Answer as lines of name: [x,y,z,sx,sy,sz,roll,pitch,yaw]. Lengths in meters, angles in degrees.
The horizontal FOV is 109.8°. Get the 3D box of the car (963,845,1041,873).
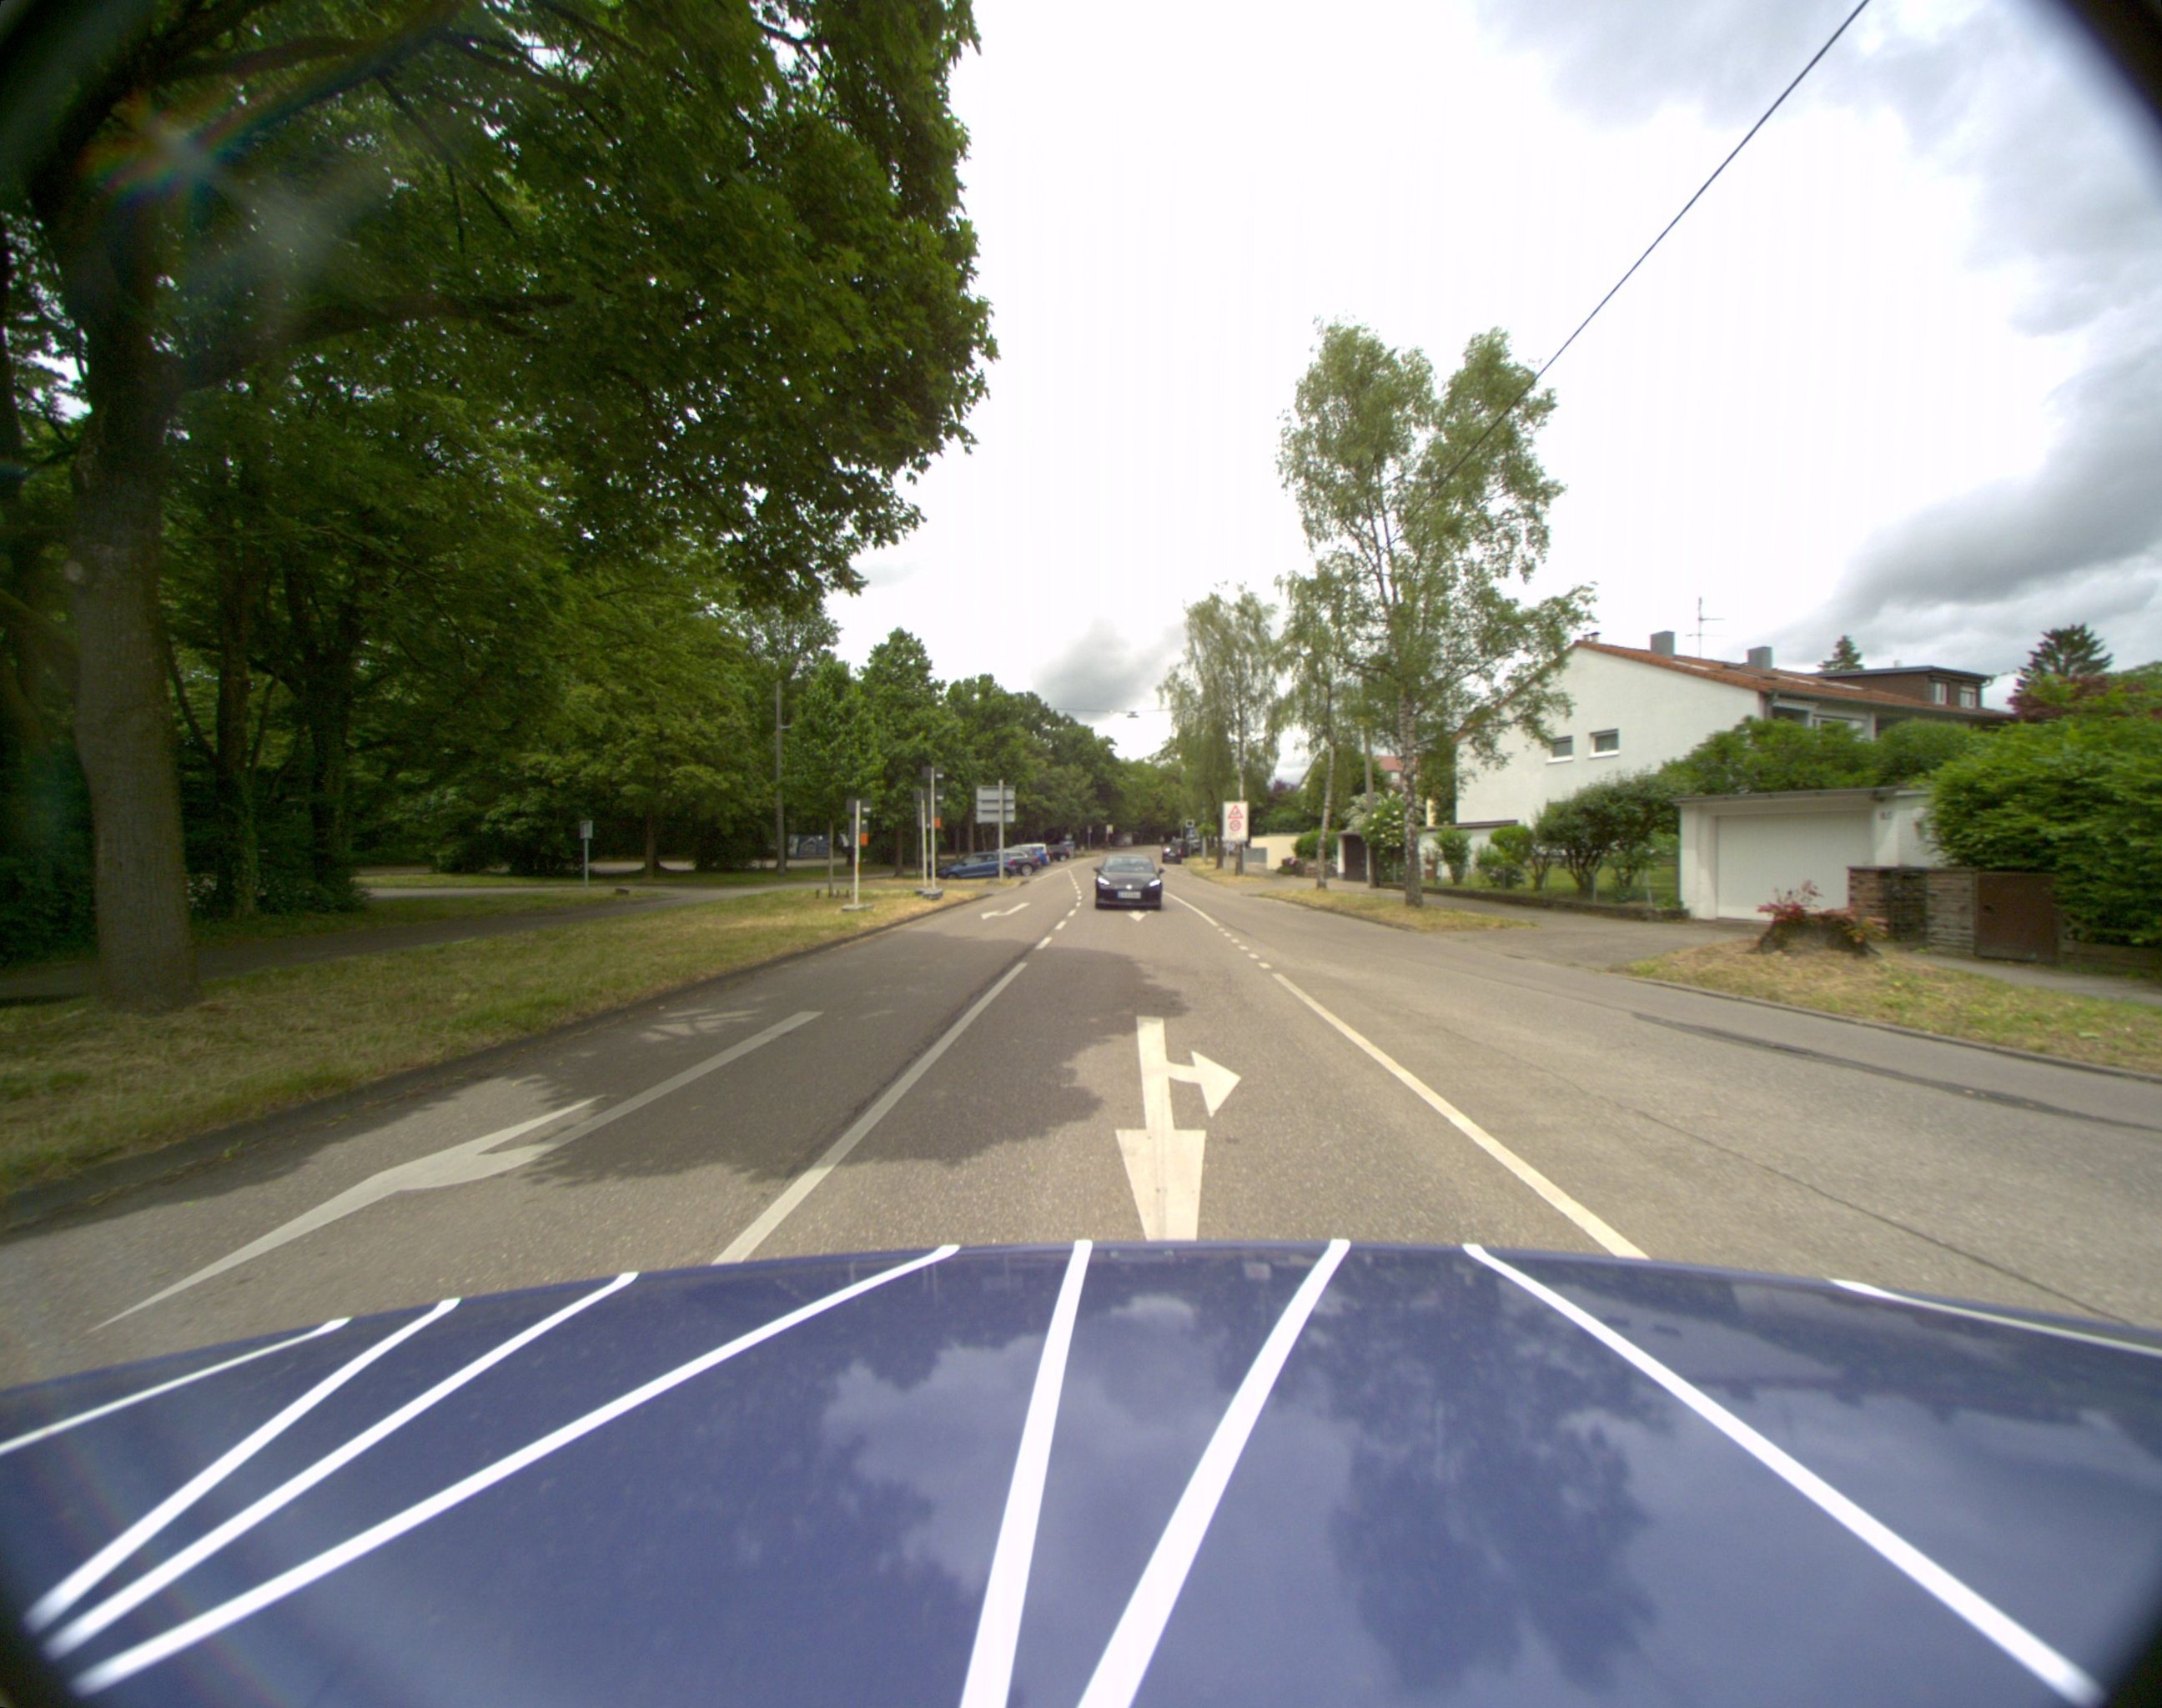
car: [-4.343,0.270,41.412,4.002,1.477,1.916,0,1,-14]

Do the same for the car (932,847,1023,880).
car: [-4.950,0.447,36.194,4.003,1.478,1.915,0,2,-17]

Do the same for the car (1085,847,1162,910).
car: [1.248,0.623,21.754,1.998,1.609,4.000,0,1,4]

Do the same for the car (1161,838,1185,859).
car: [8.213,-0.525,67.896,1.973,1.600,4.419,2,3,7]

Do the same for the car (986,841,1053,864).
car: [-4.378,-0.101,54.363,4.423,1.599,1.996,0,1,-19]

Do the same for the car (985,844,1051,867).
car: [-4.133,0.090,49.390,4.002,1.477,1.916,0,1,-14]

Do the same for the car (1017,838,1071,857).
car: [-3.222,-0.559,65.513,4.420,1.599,1.998,0,1,-11]

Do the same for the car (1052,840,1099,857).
car: [-0.544,-0.531,73.923,4.418,1.599,1.999,0,1,-5]
